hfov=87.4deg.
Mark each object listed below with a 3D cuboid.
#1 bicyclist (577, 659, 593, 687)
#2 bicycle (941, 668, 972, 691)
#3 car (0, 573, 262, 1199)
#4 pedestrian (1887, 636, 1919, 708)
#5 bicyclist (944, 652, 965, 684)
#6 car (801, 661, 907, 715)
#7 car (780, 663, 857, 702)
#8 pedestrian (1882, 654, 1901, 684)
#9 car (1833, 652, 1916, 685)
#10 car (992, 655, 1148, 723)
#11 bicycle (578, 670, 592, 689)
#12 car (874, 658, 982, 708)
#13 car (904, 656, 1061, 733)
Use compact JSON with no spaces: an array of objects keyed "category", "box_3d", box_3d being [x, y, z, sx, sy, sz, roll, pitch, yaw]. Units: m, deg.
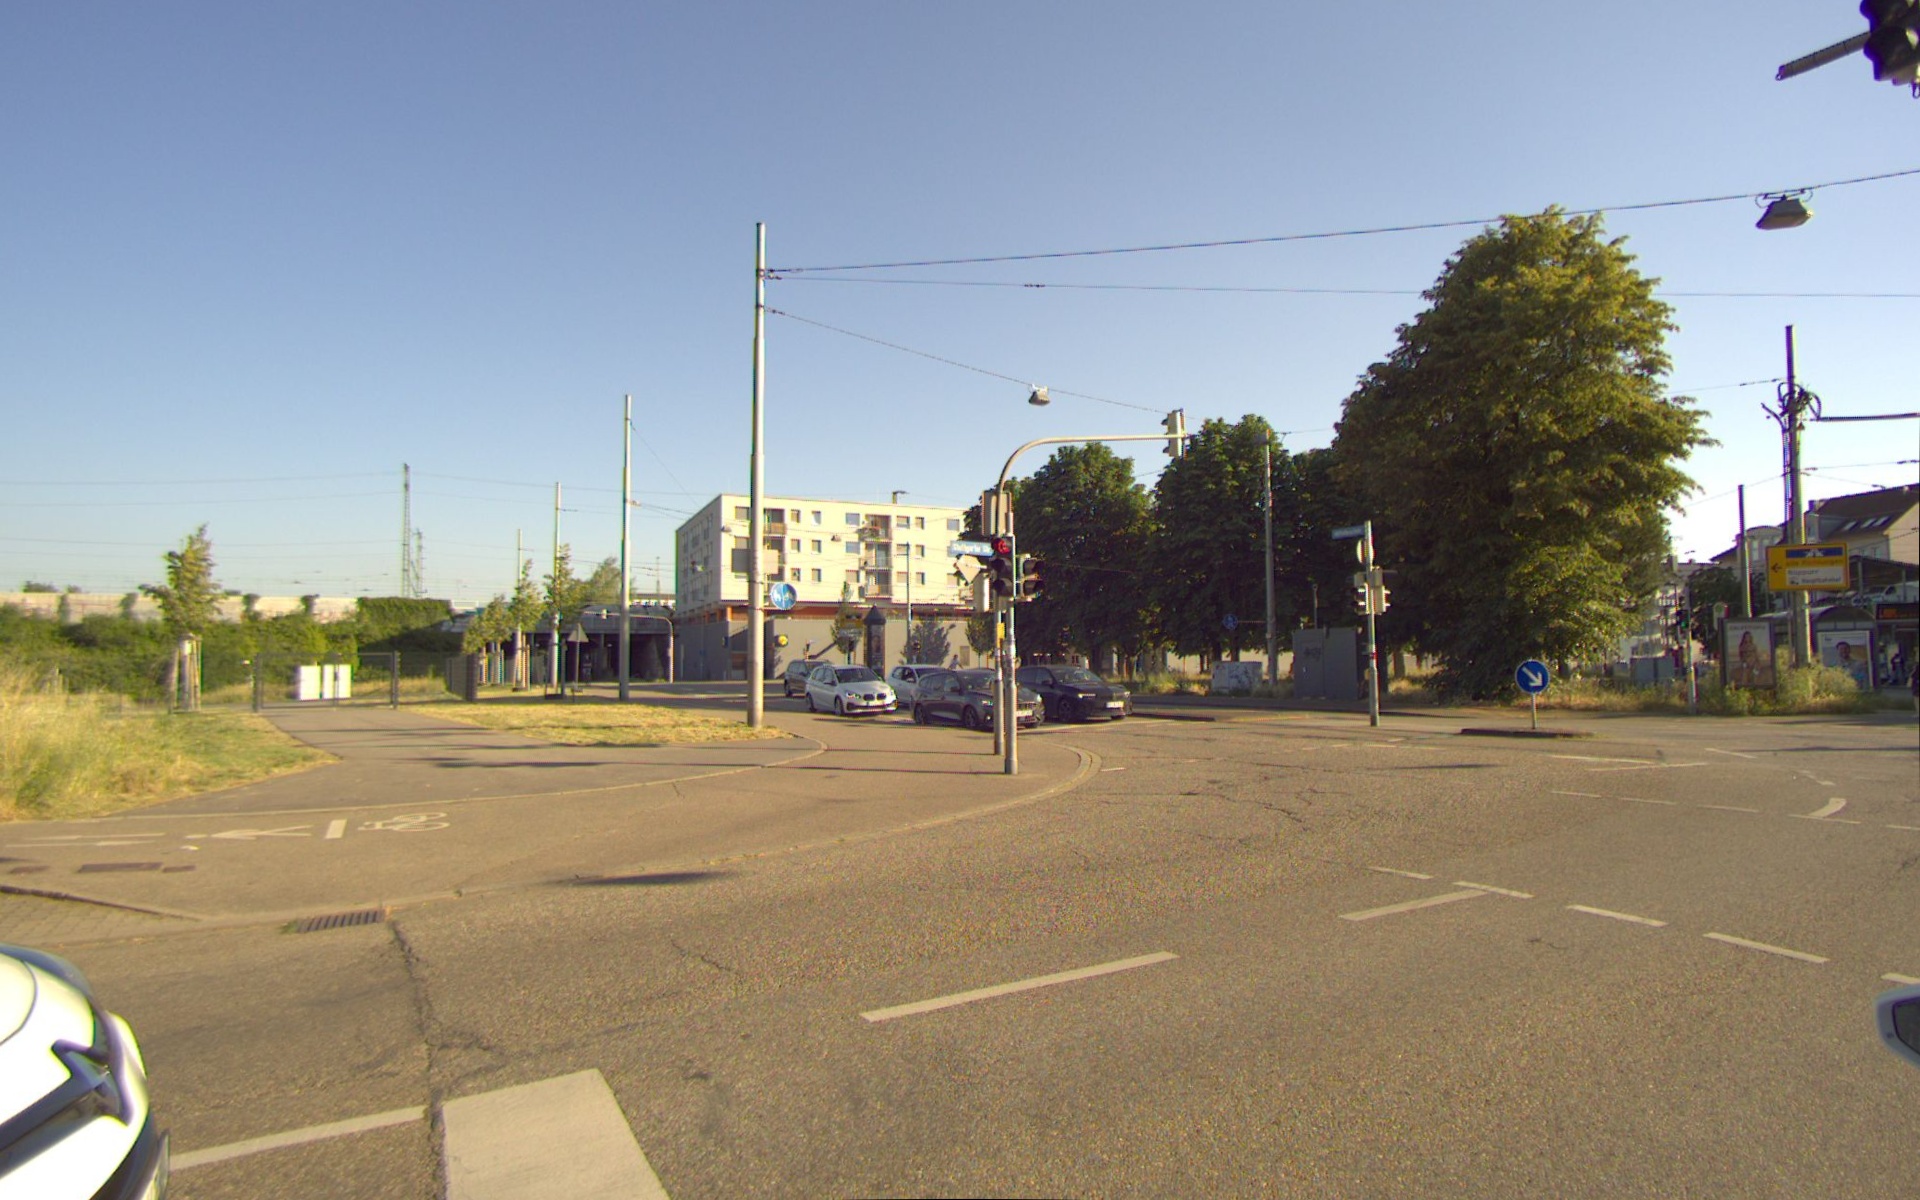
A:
[{"category":"bicyclist","box_3d":[-22.608,4.393,60.517,0.865,1.646,0.968,1,-3,-20]},{"category":"bicycle","box_3d":[-0.198,4.062,51.694,0.691,1.157,2.188,1,-4,-26]},{"category":"car","box_3d":[-3.063,0.714,1.005,3.733,1.488,1.692,2,-4,-32]},{"category":"pedestrian","box_3d":[23.931,1.791,25.029,1.056,1.769,0.907,2,-4,-32]},{"category":"bicyclist","box_3d":[-0.262,3.483,51.664,0.704,1.650,1.035,1,-3,-26]},{"category":"car","box_3d":[-3.480,2.764,32.168,1.975,1.587,4.246,1,-4,-27]},{"category":"car","box_3d":[-6.212,3.545,43.572,1.975,1.587,4.426,1,-4,-27]},{"category":"pedestrian","box_3d":[47.974,3.542,51.742,0.558,1.520,0.677,-2,-4,32]},{"category":"car","box_3d":[59.353,4.427,65.340,2.017,1.987,5.153,-4,-4,19]},{"category":"car","box_3d":[2.770,2.277,26.405,2.027,1.587,4.423,1,-4,-26]},{"category":"bicycle","box_3d":[-22.587,4.778,60.481,0.743,1.107,1.941,1,-5,-20]},{"category":"car","box_3d":[-1.183,2.775,34.122,1.975,1.587,4.426,1,-4,-27]},{"category":"car","box_3d":[0.431,2.228,24.461,1.975,1.587,4.246,-2,-2,-28]}]
